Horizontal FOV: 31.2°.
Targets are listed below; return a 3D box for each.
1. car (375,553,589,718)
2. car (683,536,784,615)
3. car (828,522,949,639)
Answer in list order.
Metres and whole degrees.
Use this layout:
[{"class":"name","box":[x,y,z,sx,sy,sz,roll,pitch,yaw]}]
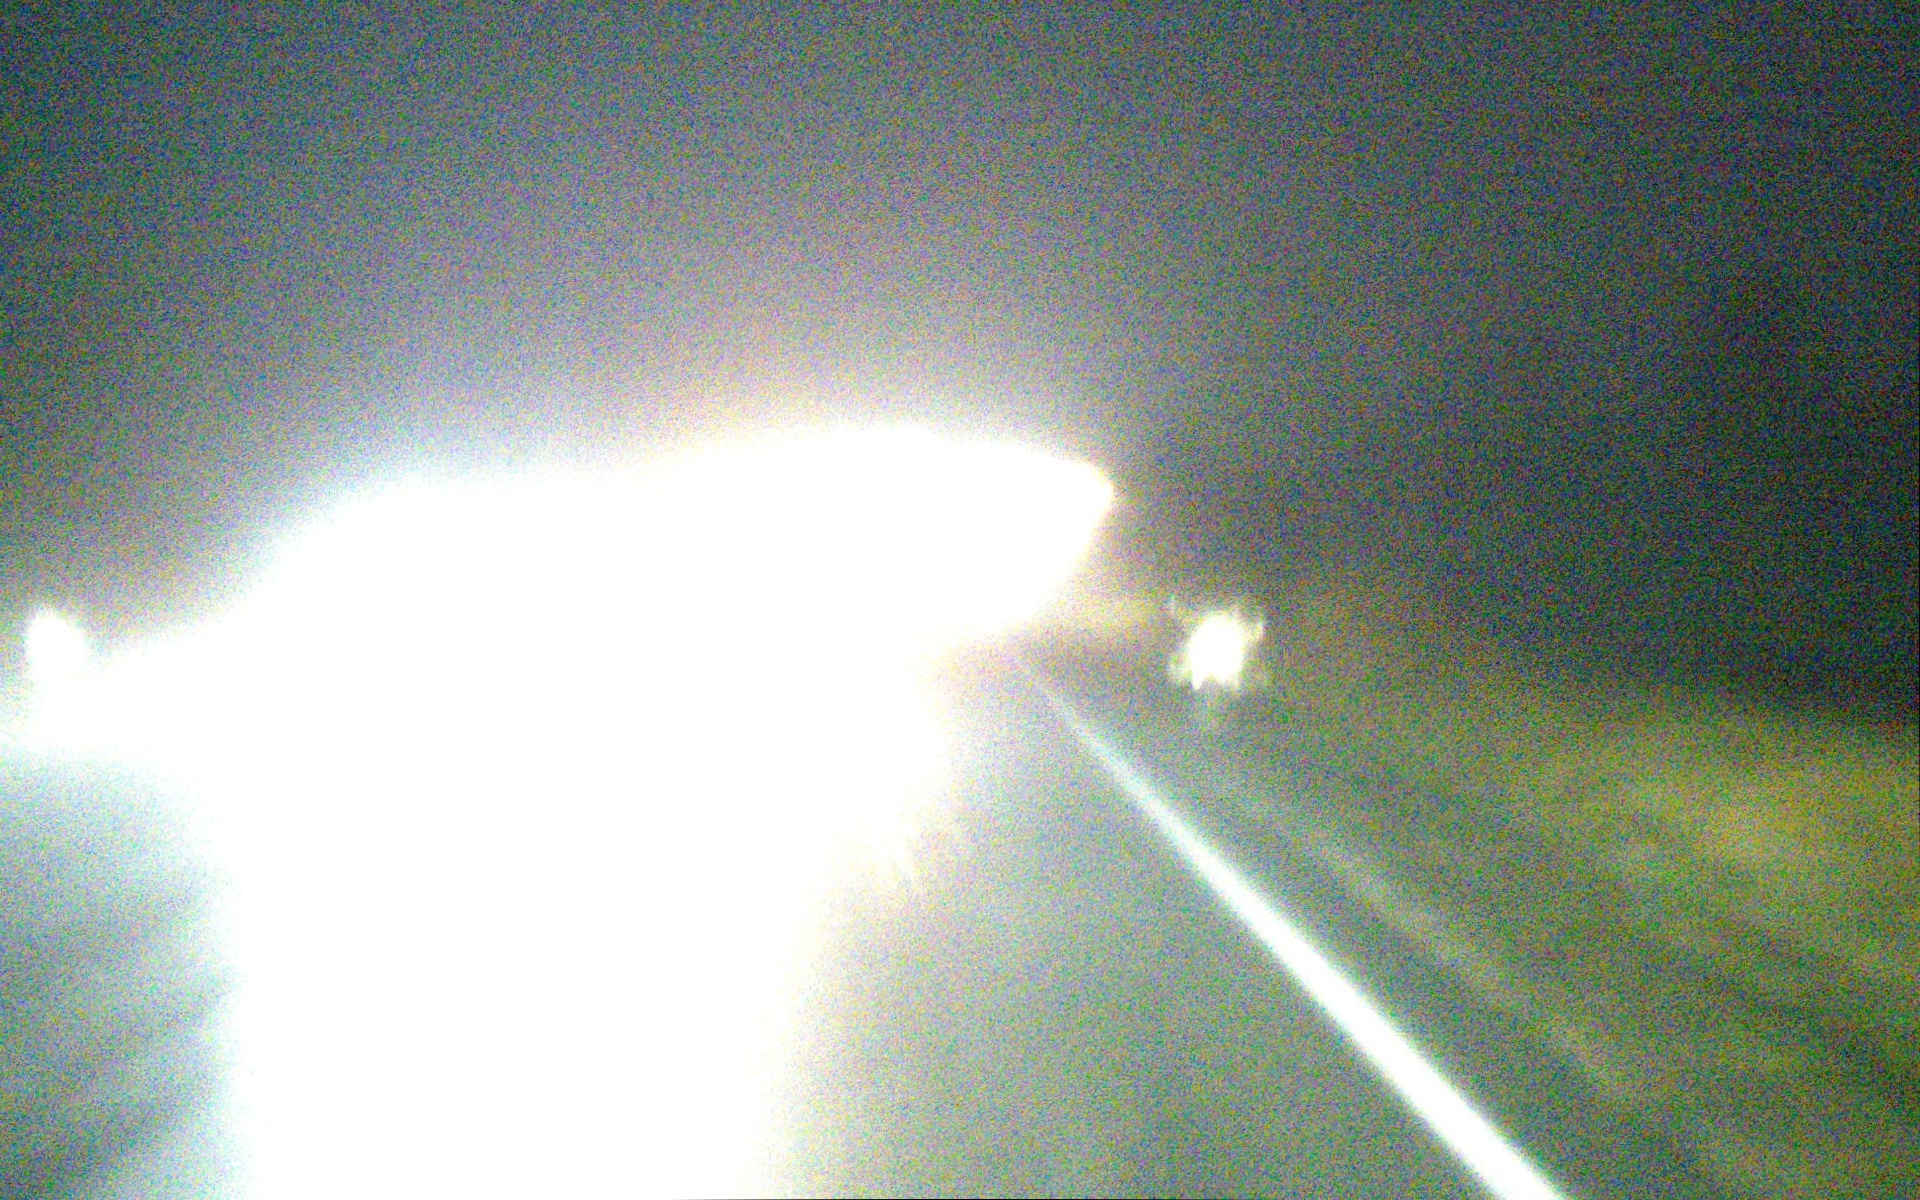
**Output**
[{"class":"car","box":[-5.213,0.383,37.984,1.993,1.656,4.000,2,-1,-4]},{"class":"car","box":[-5.025,-0.549,76.751,1.993,1.655,4.000,1,1,0]},{"class":"car","box":[-1.172,-0.350,56.478,1.842,1.734,4.001,2,2,-1]}]
